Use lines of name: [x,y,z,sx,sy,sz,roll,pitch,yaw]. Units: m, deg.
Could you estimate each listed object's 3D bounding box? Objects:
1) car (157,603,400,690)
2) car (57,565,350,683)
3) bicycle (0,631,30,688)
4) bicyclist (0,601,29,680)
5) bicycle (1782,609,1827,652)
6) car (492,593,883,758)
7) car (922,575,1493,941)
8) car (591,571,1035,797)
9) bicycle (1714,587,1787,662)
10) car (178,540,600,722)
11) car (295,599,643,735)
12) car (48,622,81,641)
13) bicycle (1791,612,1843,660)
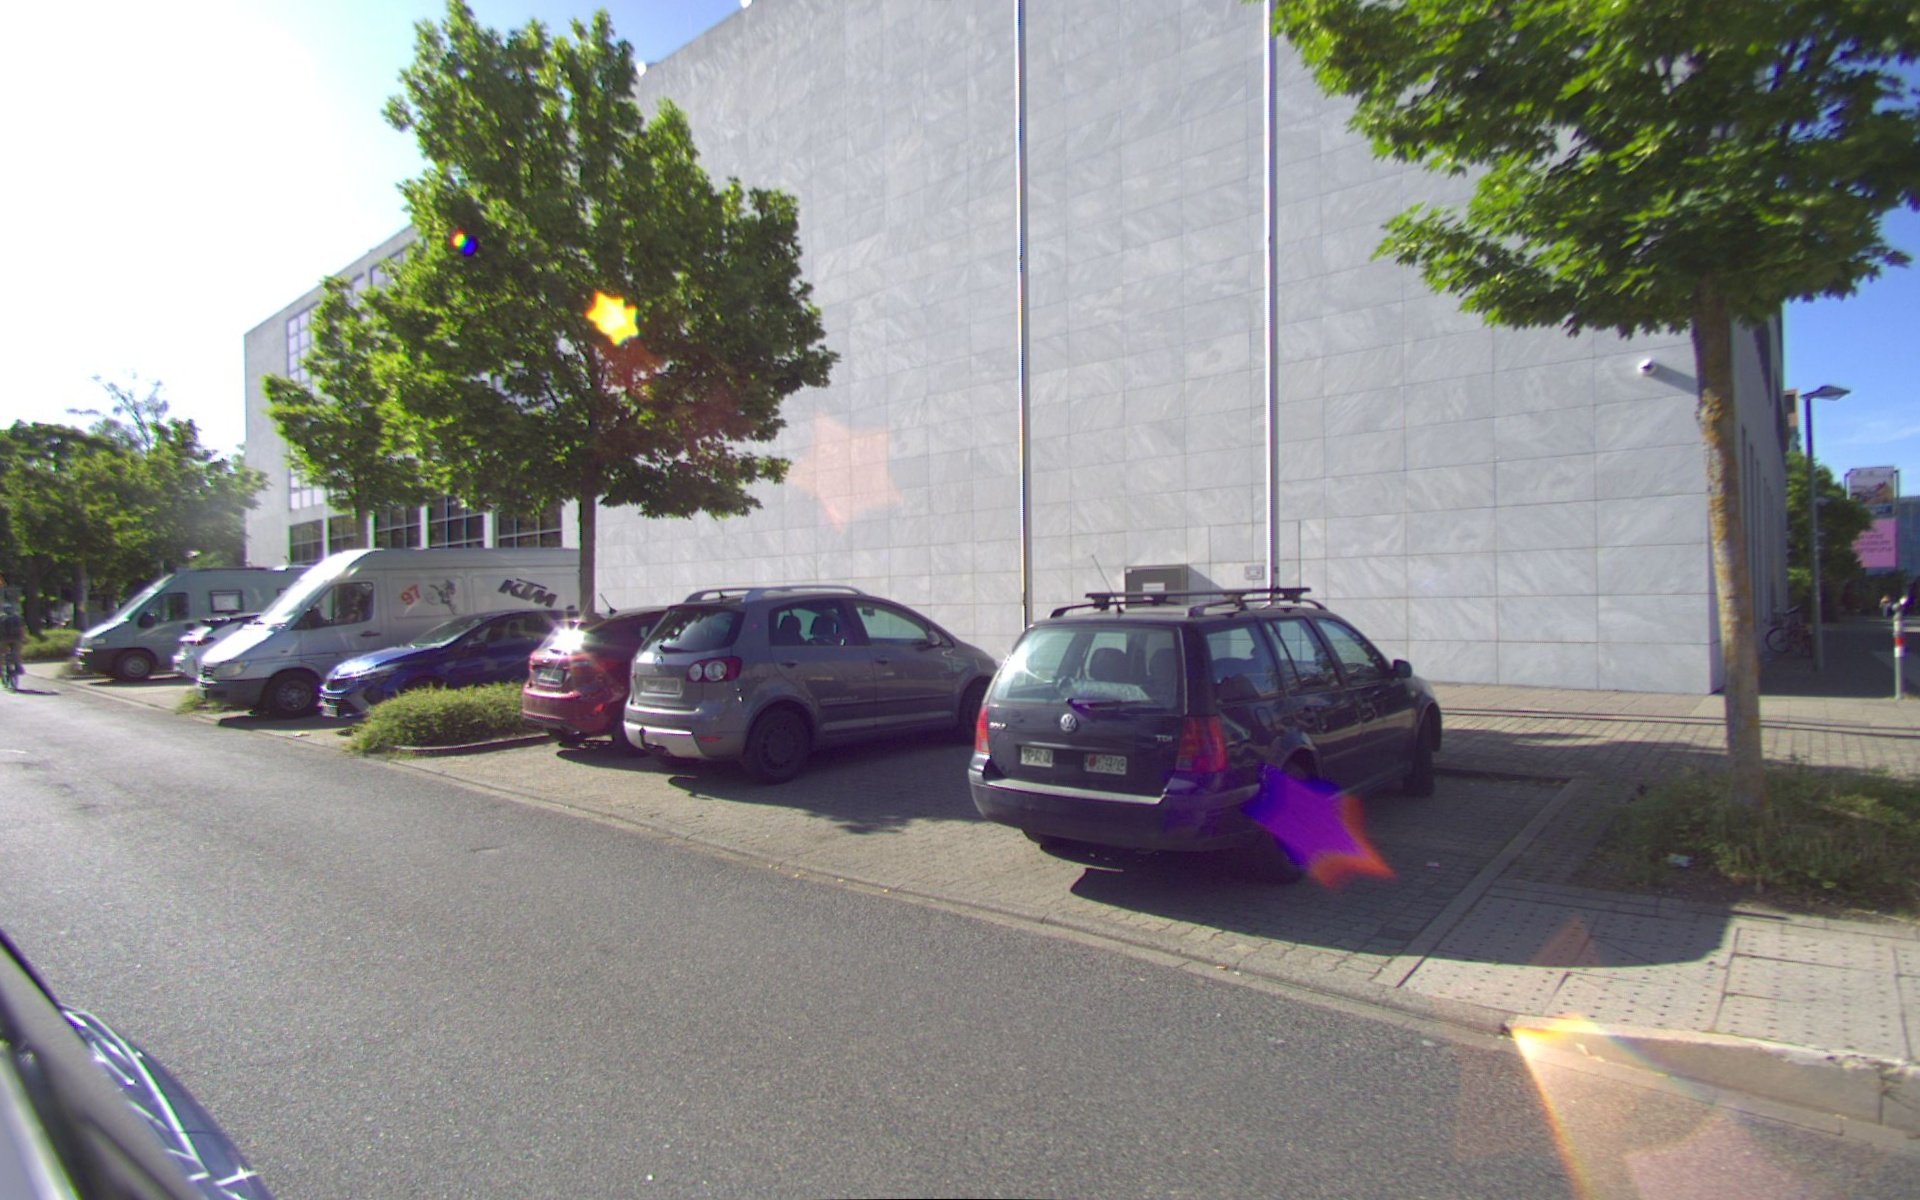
car: [-13.877,0.878,20.753,1.848,1.483,3.789,-1,1,43]
car: [-17.794,0.461,24.047,2.122,2.436,5.193,-1,1,42]
bicycle: [-19.635,1.204,20.790,0.690,1.119,2.081,2,-2,-44]
bicyclist: [-19.599,0.822,20.761,0.675,1.593,1.062,2,-2,-44]
bicycle: [19.549,0.690,23.454,0.738,0.942,2.224,-3,-2,39]
car: [-2.935,0.710,11.514,1.855,1.529,3.945,-1,-1,41]
car: [1.851,0.670,6.494,1.868,1.503,4.088,-3,0,41]
car: [-1.253,0.613,9.804,1.828,1.676,3.943,-1,1,44]
bicycle: [17.555,0.524,22.566,0.872,1.524,3.955,-3,-2,33]
car: [-8.862,0.343,16.213,1.987,2.428,5.491,-2,1,42]
car: [-6.562,0.789,13.831,1.785,1.496,3.891,-1,1,42]
car: [-76.388,2.664,86.285,1.809,1.626,4.146,2,-2,-45]
bicycle: [17.664,0.721,20.893,0.738,0.942,2.224,-2,-1,39]
